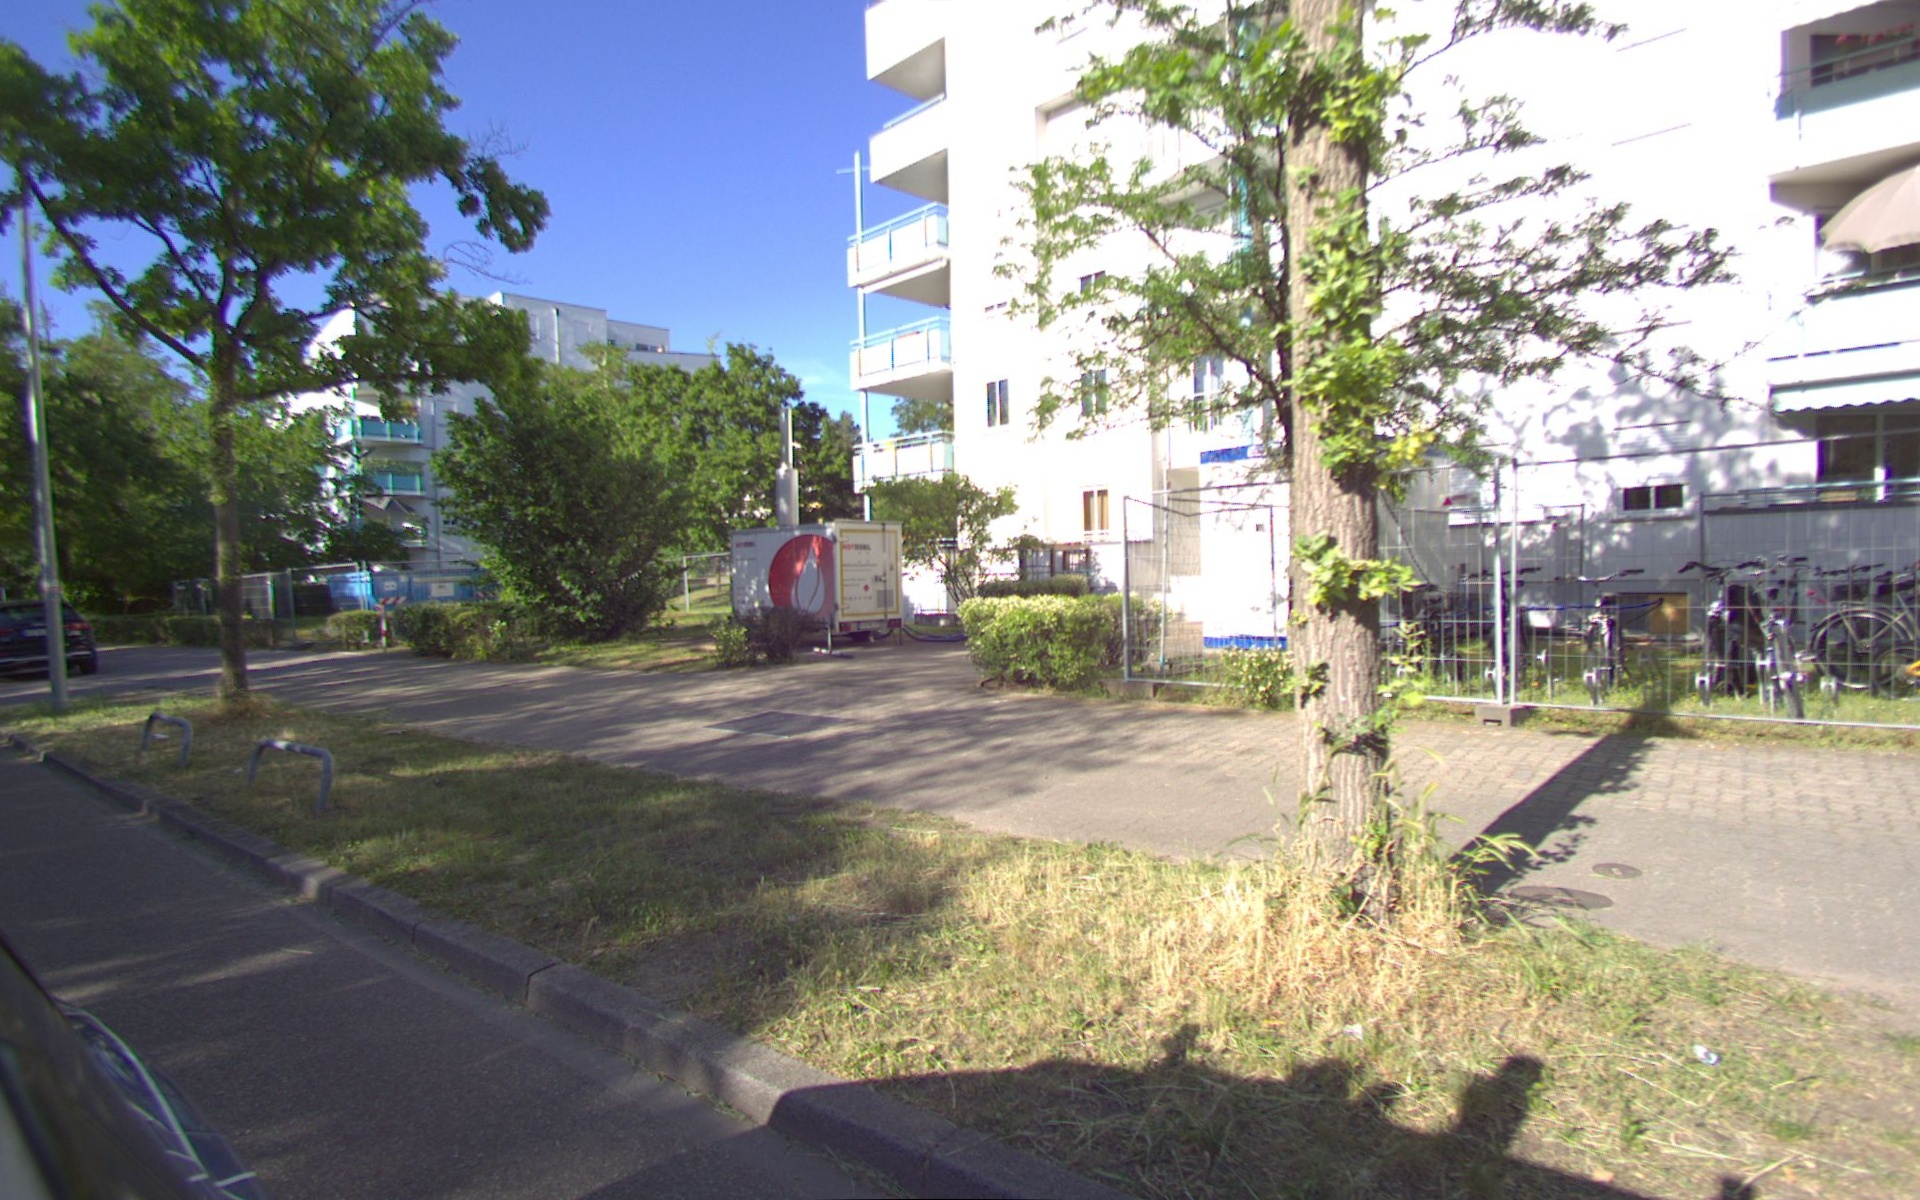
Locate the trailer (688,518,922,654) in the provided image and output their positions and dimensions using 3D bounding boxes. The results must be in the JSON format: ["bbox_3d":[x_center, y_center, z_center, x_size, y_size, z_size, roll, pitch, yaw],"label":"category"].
[{"bbox_3d":[-2.895,-0.246,18.300,4.347,2.135,1.843,-1,3,44],"label":"trailer"}]

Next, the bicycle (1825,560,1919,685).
[{"bbox_3d":[8.302,0.182,8.392,1.700,1.034,0.395,0,2,43],"label":"bicycle"}]

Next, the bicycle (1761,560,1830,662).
[{"bbox_3d":[9.208,0.088,11.135,1.675,1.034,0.401,-3,2,-44],"label":"bicycle"}]

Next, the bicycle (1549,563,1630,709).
[{"bbox_3d":[5.005,0.230,8.104,0.398,1.034,1.827,-1,2,27],"label":"bicycle"}]

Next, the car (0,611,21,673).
[{"bbox_3d":[-24.611,1.082,24.703,4.130,1.443,1.701,-2,3,37],"label":"car"}]

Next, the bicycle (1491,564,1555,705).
[{"bbox_3d":[4.664,0.231,8.434,0.398,1.034,1.844,-1,2,27],"label":"bicycle"}]

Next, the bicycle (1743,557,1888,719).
[{"bbox_3d":[6.212,0.210,7.429,0.398,1.034,1.903,-1,2,27],"label":"bicycle"}]

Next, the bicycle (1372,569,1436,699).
[{"bbox_3d":[4.039,0.255,9.152,0.398,1.034,1.858,-1,2,27],"label":"bicycle"}]

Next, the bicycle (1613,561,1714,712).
[{"bbox_3d":[5.432,0.224,7.879,0.398,1.034,1.848,-1,2,27],"label":"bicycle"}]

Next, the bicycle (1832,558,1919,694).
[{"bbox_3d":[7.674,0.190,7.597,1.699,1.034,0.395,0,2,40],"label":"bicycle"}]

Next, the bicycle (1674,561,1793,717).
[{"bbox_3d":[5.799,0.232,7.660,0.398,1.034,1.827,-1,2,27],"label":"bicycle"}]

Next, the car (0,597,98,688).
[{"bbox_3d":[-19.399,0.847,20.864,4.217,1.633,1.758,-1,3,41],"label":"car"}]

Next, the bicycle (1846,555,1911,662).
[{"bbox_3d":[9.649,0.057,10.611,1.675,1.034,0.401,-3,2,-44],"label":"bicycle"}]
